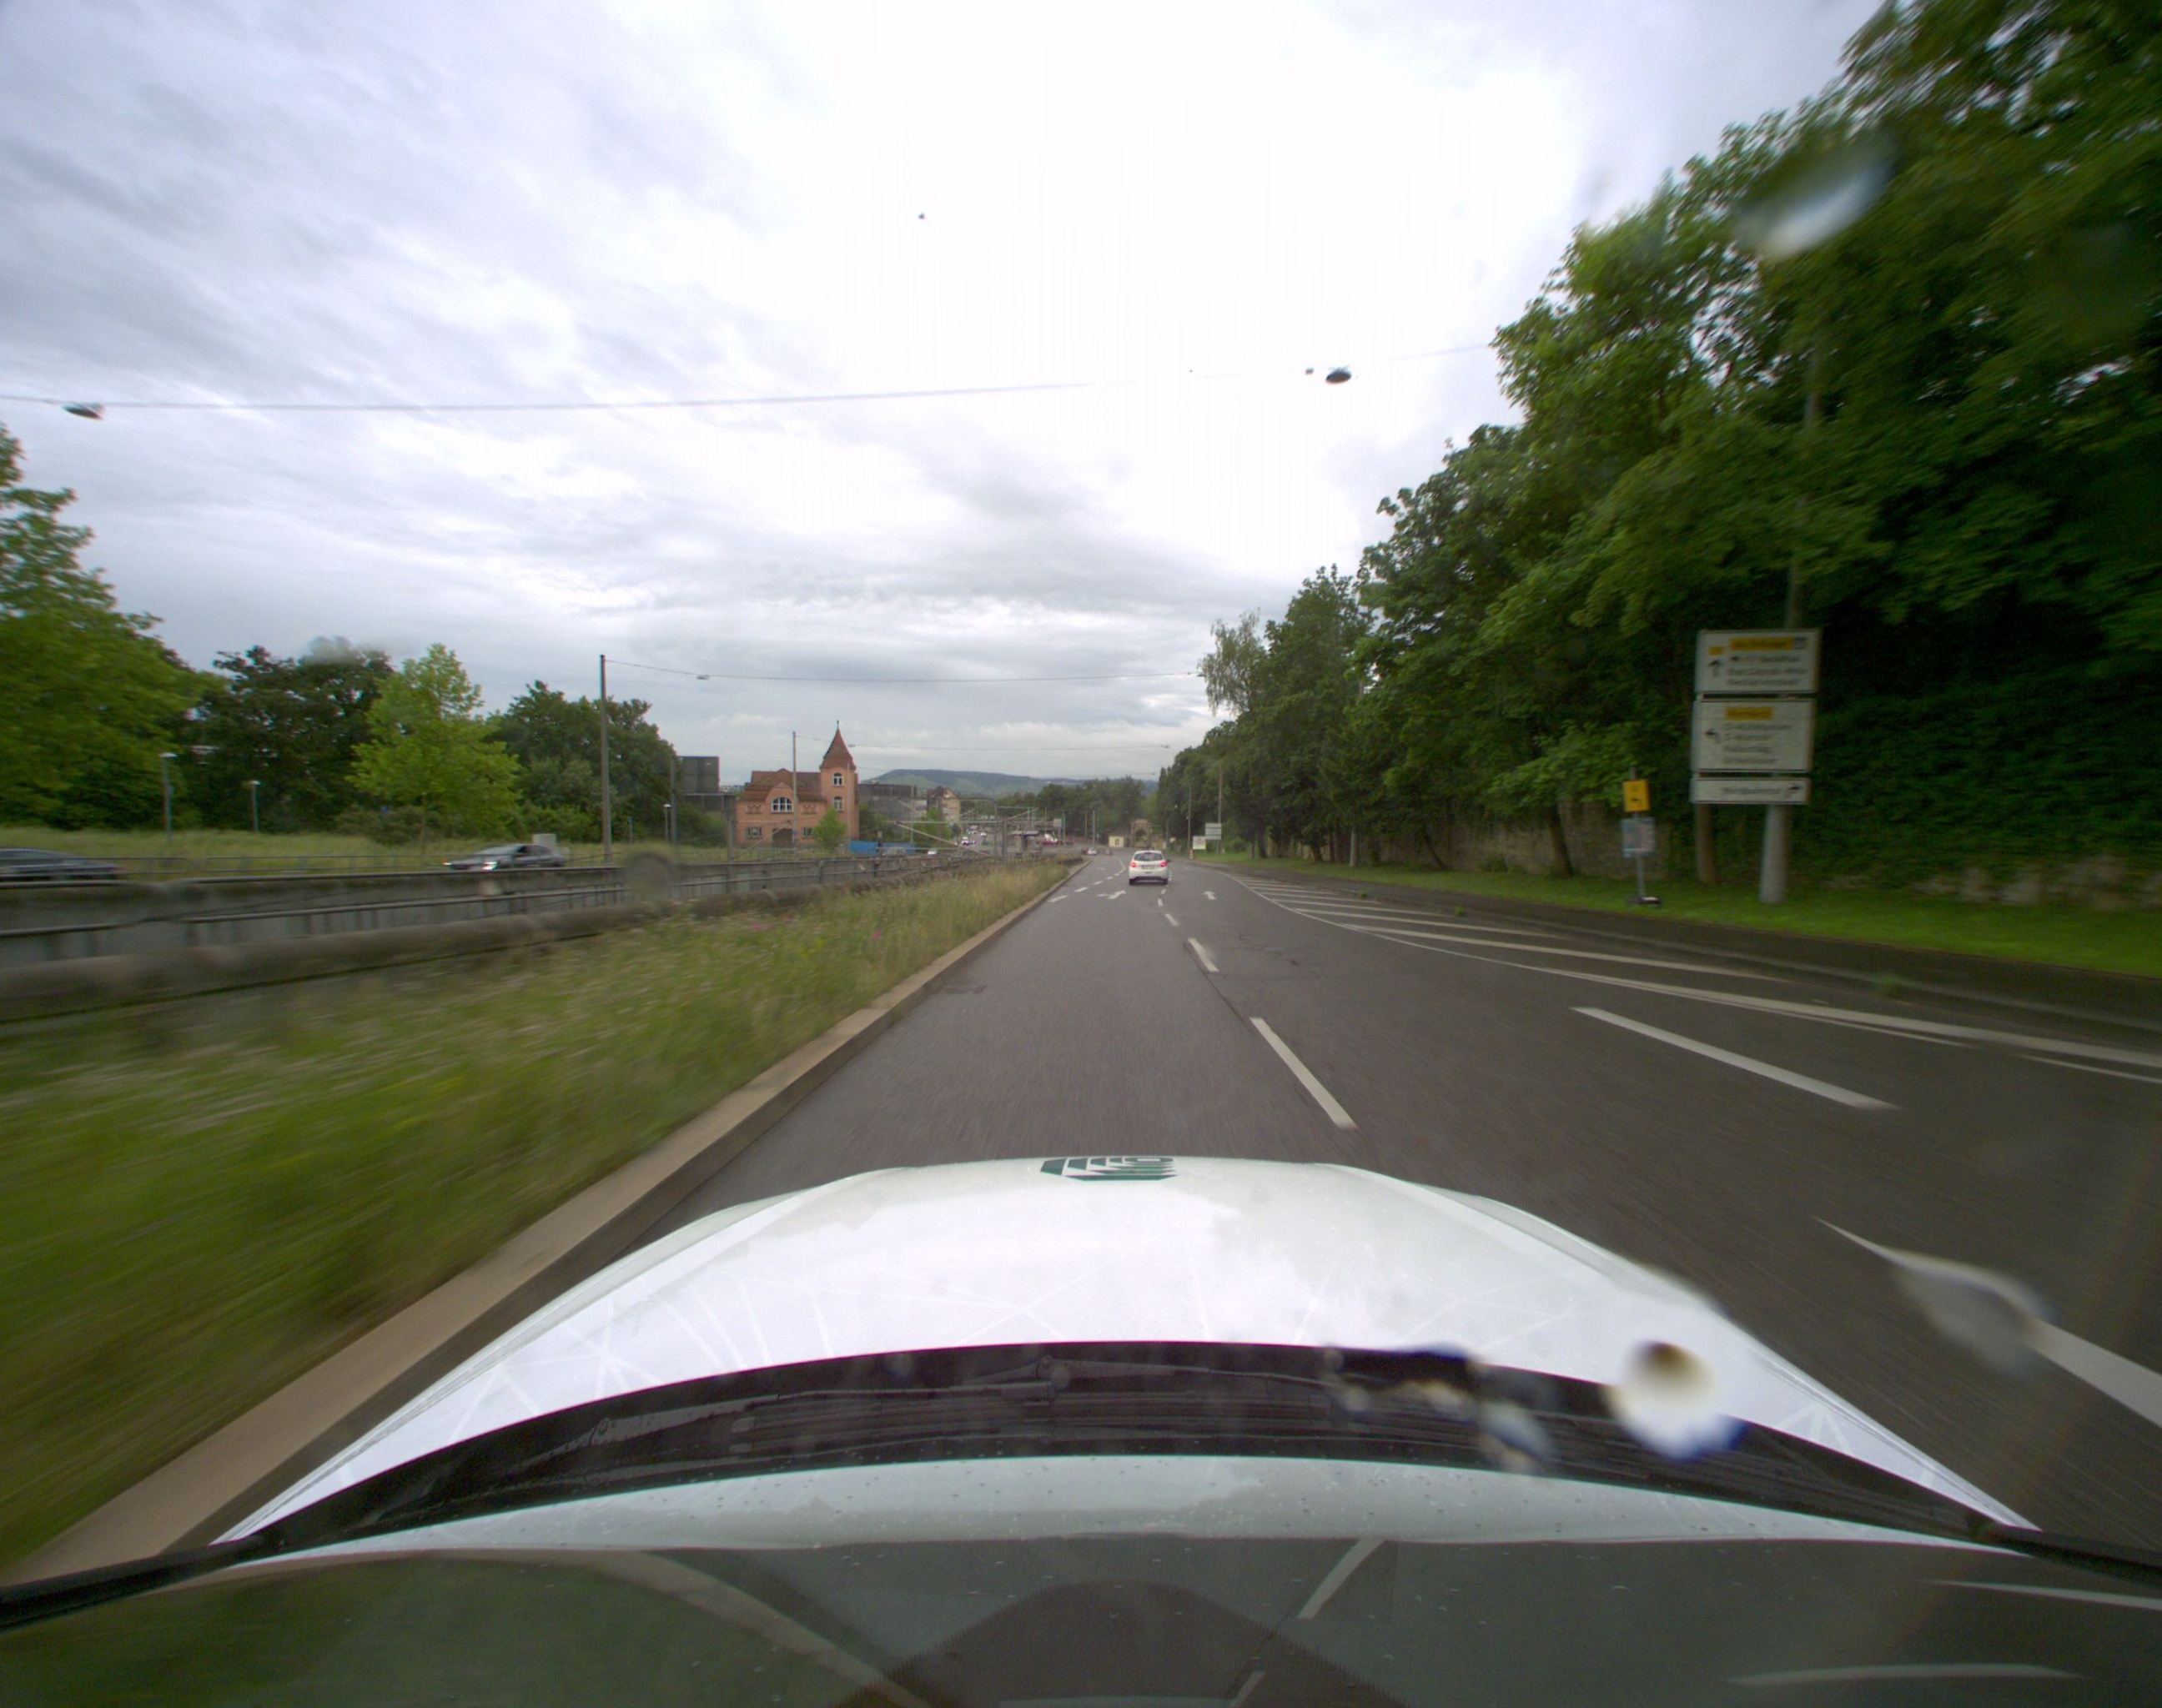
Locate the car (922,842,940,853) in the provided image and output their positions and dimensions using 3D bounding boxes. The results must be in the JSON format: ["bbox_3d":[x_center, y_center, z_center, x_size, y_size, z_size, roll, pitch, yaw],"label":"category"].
[{"bbox_3d":[-19.659,-0.841,106.686,1.549,1.291,3.562,1,1,3],"label":"car"}]

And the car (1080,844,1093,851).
[{"bbox_3d":[1.192,-1.516,185.115,1.997,1.706,3.980,0,1,-15],"label":"car"}]

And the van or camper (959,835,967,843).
[{"bbox_3d":[-36.402,-4.708,251.012,1.991,2.345,3.992,-1,0,-6],"label":"van or camper"}]

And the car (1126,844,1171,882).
[{"bbox_3d":[2.945,0.354,36.204,1.861,1.510,3.903,-1,1,3],"label":"car"}]

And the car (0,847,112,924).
[{"bbox_3d":[-24.153,0.680,17.472,1.883,1.640,3.976,0,1,3],"label":"car"}]

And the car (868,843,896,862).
[{"bbox_3d":[-21.209,-0.191,86.924,1.885,1.970,4.034,3,1,0],"label":"car"}]

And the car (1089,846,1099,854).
[{"bbox_3d":[2.782,-0.916,175.965,1.815,1.606,4.004,-2,1,3],"label":"car"}]

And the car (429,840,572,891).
[{"bbox_3d":[-21.044,0.368,29.785,1.883,1.644,4.361,3,1,3],"label":"car"}]
